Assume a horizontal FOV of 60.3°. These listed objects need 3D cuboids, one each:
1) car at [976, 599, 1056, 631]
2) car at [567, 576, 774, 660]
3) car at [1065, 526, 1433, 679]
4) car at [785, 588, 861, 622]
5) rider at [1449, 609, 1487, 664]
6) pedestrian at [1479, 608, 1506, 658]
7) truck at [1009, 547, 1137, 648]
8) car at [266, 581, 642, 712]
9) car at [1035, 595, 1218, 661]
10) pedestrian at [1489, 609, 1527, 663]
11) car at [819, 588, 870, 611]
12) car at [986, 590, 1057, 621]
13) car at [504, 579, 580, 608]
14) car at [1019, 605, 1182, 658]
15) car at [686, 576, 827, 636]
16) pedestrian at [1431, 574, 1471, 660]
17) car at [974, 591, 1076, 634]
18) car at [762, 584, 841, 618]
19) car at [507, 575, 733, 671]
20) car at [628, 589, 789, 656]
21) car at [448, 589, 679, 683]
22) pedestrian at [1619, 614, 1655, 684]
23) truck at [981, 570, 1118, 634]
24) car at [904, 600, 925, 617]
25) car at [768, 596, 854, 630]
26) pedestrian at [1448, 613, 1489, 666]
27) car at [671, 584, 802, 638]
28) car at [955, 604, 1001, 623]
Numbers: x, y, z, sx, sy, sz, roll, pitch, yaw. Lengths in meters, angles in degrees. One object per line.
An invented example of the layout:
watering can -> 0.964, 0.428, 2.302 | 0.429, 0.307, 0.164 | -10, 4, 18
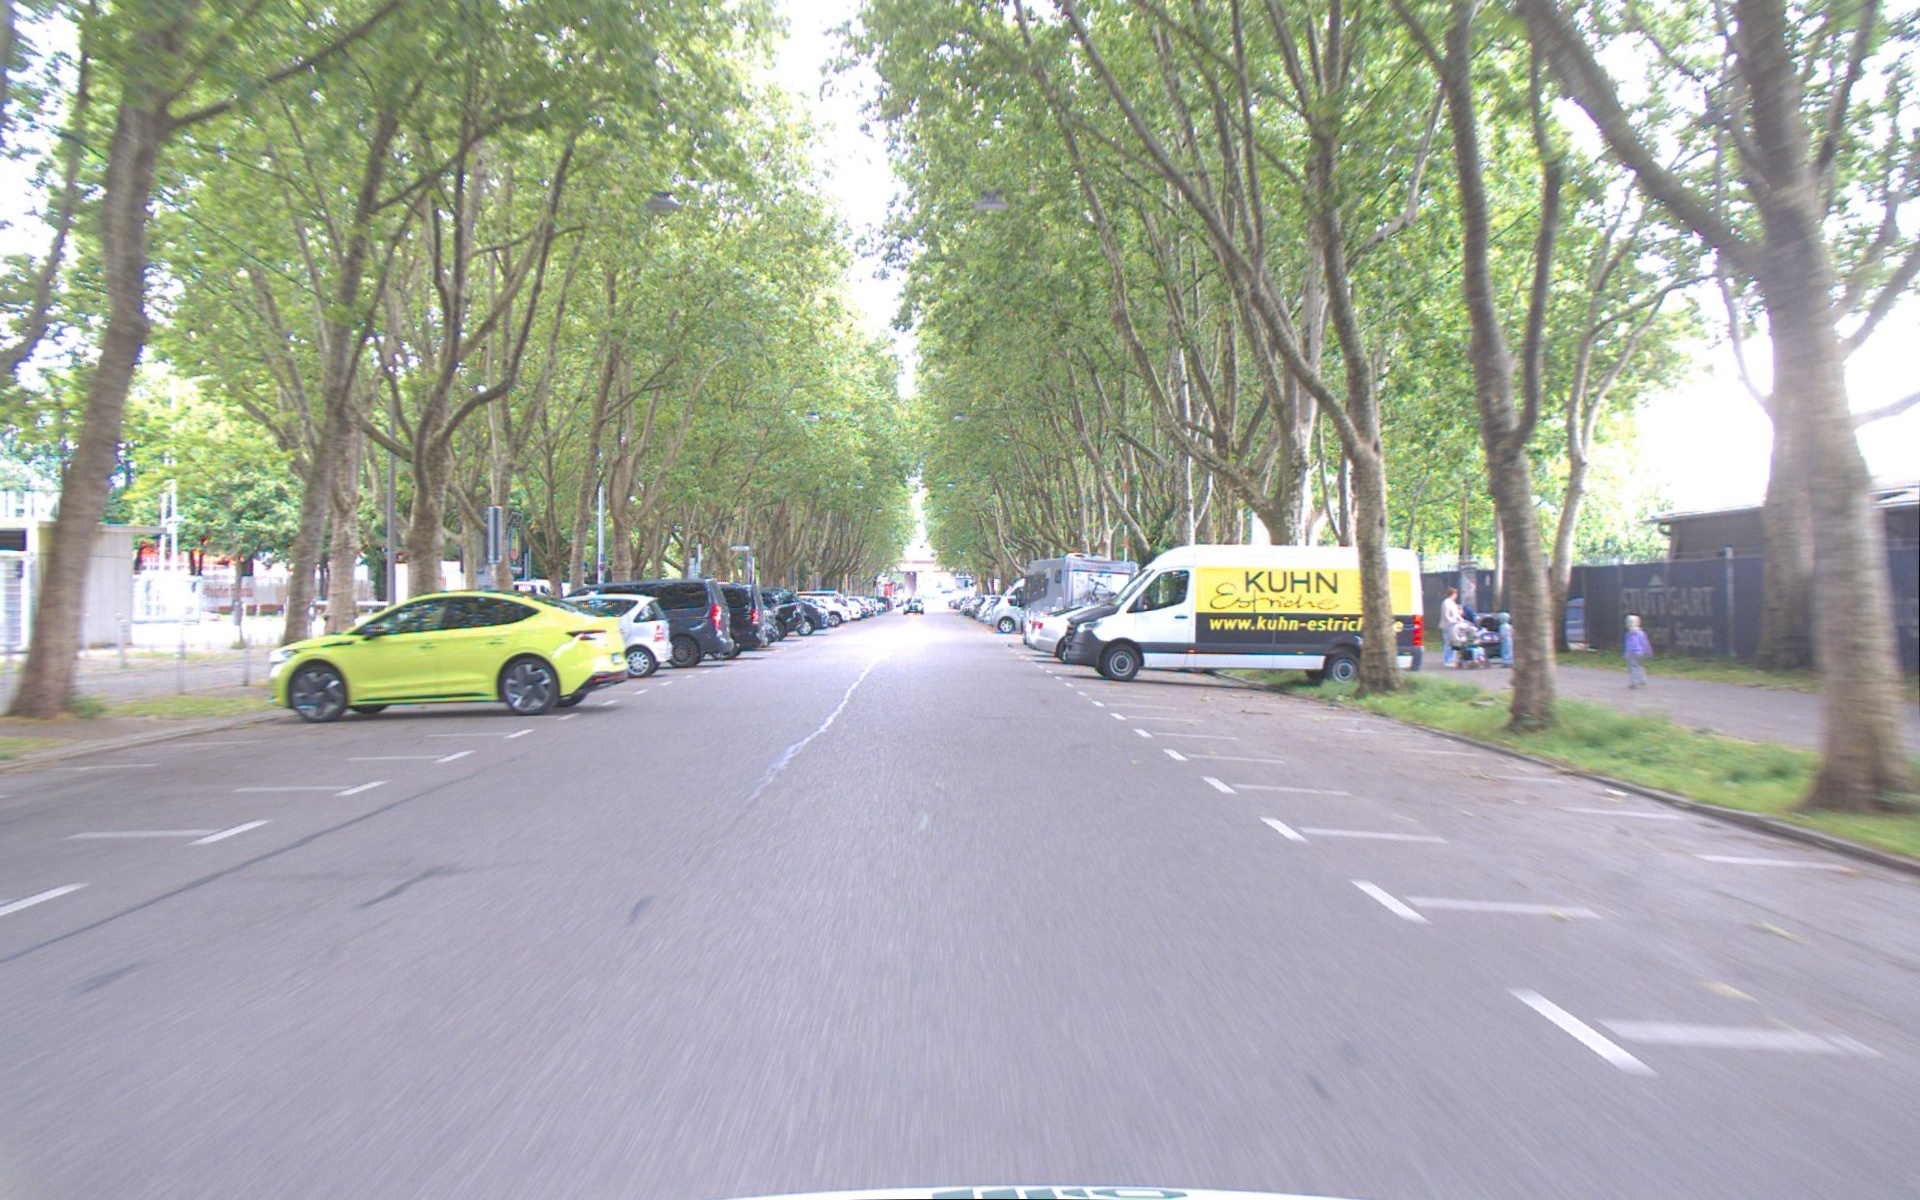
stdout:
car -> 2.887, 0.770, 85.995 | 4.035, 1.454, 1.703 | 3, -1, 1
car -> -7.265, 0.449, 41.878 | 4.805, 1.958, 2.208 | -1, 0, -1
car -> 5.482, 0.055, 32.062 | 6.739, 2.742, 2.127 | 1, 0, 0
car -> -8.926, 0.353, 108.055 | 4.795, 2.054, 1.919 | -2, 0, -2
rider -> 10.390, 0.742, 33.853 | 0.580, 1.067, 0.589 | -3, 0, 2
pedestrian -> 11.432, 0.702, 35.505 | 0.415, 1.053, 0.391 | 1, -1, -41
truck -> 3.510, -0.064, 53.248 | 2.413, 2.989, 7.521 | 1, 0, -9
car -> -6.610, 0.595, 21.916 | 4.423, 1.646, 1.758 | 0, 0, 1
car -> 3.933, 0.662, 39.525 | 4.268, 1.471, 1.613 | 1, 0, 2
pedestrian -> 11.266, 0.733, 34.023 | 0.580, 1.067, 0.589 | -2, 0, 2
car -> -8.735, -0.031, 125.370 | 3.751, 1.656, 1.951 | -2, 0, -4
car -> 3.841, 0.351, 103.326 | 4.297, 1.786, 1.800 | 1, 0, -3
car -> -34.920, -0.514, 138.263 | 5.880, 2.292, 1.999 | 1, 0, -2
car -> 3.752, 0.840, 44.613 | 4.232, 1.325, 1.699 | 1, 0, -1
car -> -8.050, 0.215, 65.799 | 5.327, 2.165, 1.939 | -2, 0, -3
pedestrian -> 10.332, 0.359, 34.801 | 0.626, 1.771, 0.621 | -2, 0, 2
car -> 2.782, 0.522, 70.827 | 4.250, 1.646, 1.804 | 2, 0, 2
car -> -8.869, 0.073, 93.060 | 4.254, 1.697, 1.999 | -3, 0, -3
car -> -7.461, 0.499, 36.684 | 4.670, 1.958, 2.015 | -1, 0, -6
car -> -7.536, 0.659, 49.760 | 4.485, 1.812, 1.798 | -2, 1, 0
car -> -7.503, 0.669, 31.627 | 4.026, 1.596, 1.756 | -2, 0, -6
pedestrian -> 10.911, 0.783, 26.659 | 0.387, 1.103, 0.419 | -2, -1, 2
truck -> 4.071, 0.092, 75.712 | 6.163, 2.762, 2.098 | 1, 0, 2
car -> -4.101, 0.756, 149.618 | 1.622, 1.388, 4.108 | -2, 0, -5
car -> -7.652, 0.659, 85.194 | 4.292, 1.625, 1.999 | -2, 0, -3
pedestrian -> 10.425, 0.804, 33.912 | 0.626, 1.078, 0.676 | 1, 0, 0
car -> -7.996, 0.392, 59.076 | 4.569, 1.852, 1.801 | 0, -2, -11
car -> 1.619, 1.210, 149.692 | 4.085, 1.624, 1.853 | 1, 0, -5
